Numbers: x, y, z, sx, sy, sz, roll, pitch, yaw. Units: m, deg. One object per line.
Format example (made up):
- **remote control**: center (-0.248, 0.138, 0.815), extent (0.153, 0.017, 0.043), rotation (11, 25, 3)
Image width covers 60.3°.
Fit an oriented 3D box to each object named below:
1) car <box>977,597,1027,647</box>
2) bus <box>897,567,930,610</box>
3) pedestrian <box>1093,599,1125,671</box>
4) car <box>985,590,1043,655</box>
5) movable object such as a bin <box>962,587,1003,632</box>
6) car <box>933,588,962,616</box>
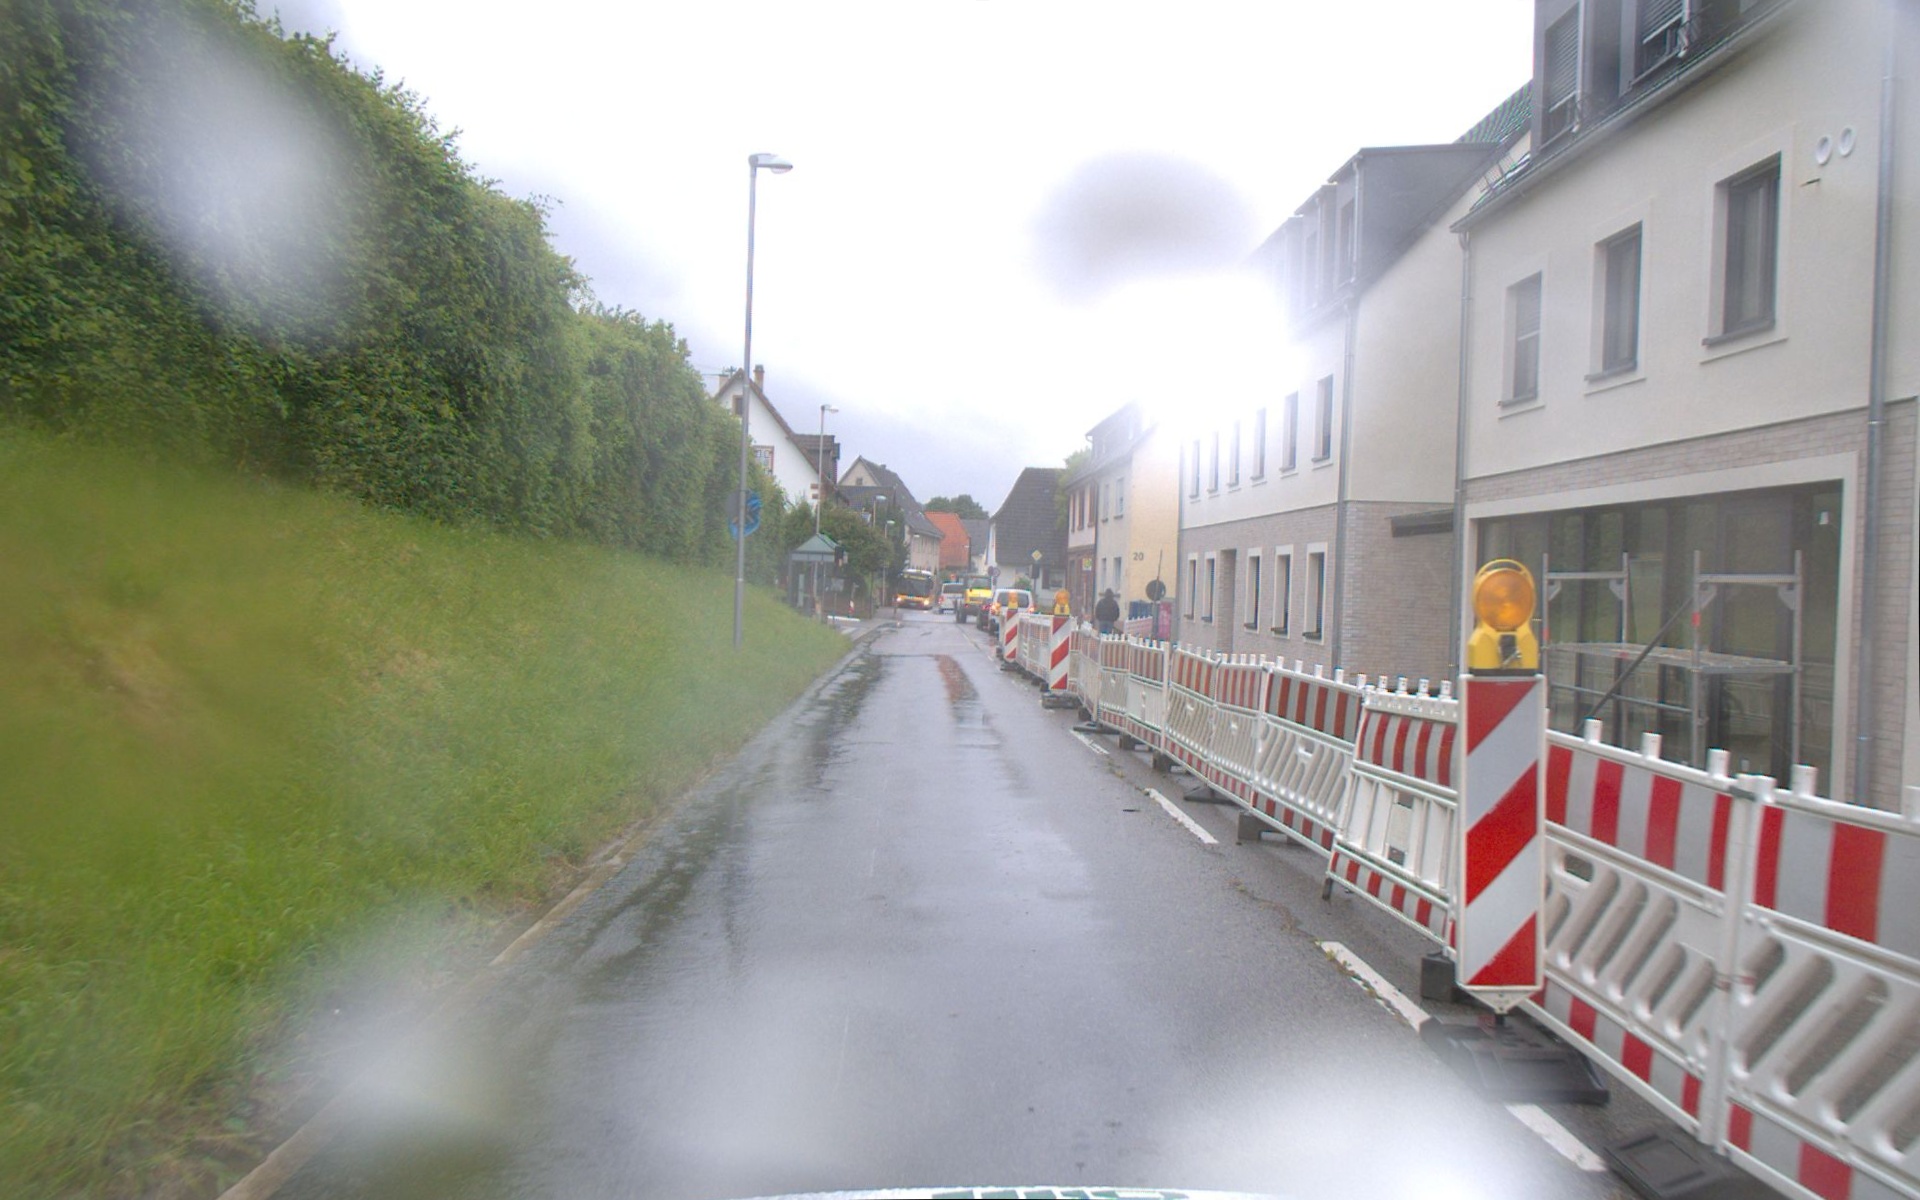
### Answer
- **car**: center (1.861, 0.978, 73.936), extent (1.953, 2.049, 3.999), rotation (3, 0, -1)
- **bus**: center (-3.608, -0.858, 130.195), extent (2.196, 3.157, 7.030), rotation (3, 0, 0)
- **pedestrian**: center (3.795, 0.876, 42.156), extent (0.652, 1.786, 0.811), rotation (3, -1, -2)
- **car**: center (2.129, 0.872, 66.301), extent (1.953, 2.416, 4.094), rotation (3, 0, -1)
- **movable object such as a bin**: center (1.157, 0.497, 87.285), extent (1.953, 2.210, 3.999), rotation (3, 0, -1)
- **car**: center (-0.860, 0.147, 108.892), extent (1.781, 1.670, 4.094), rotation (3, 0, -1)
